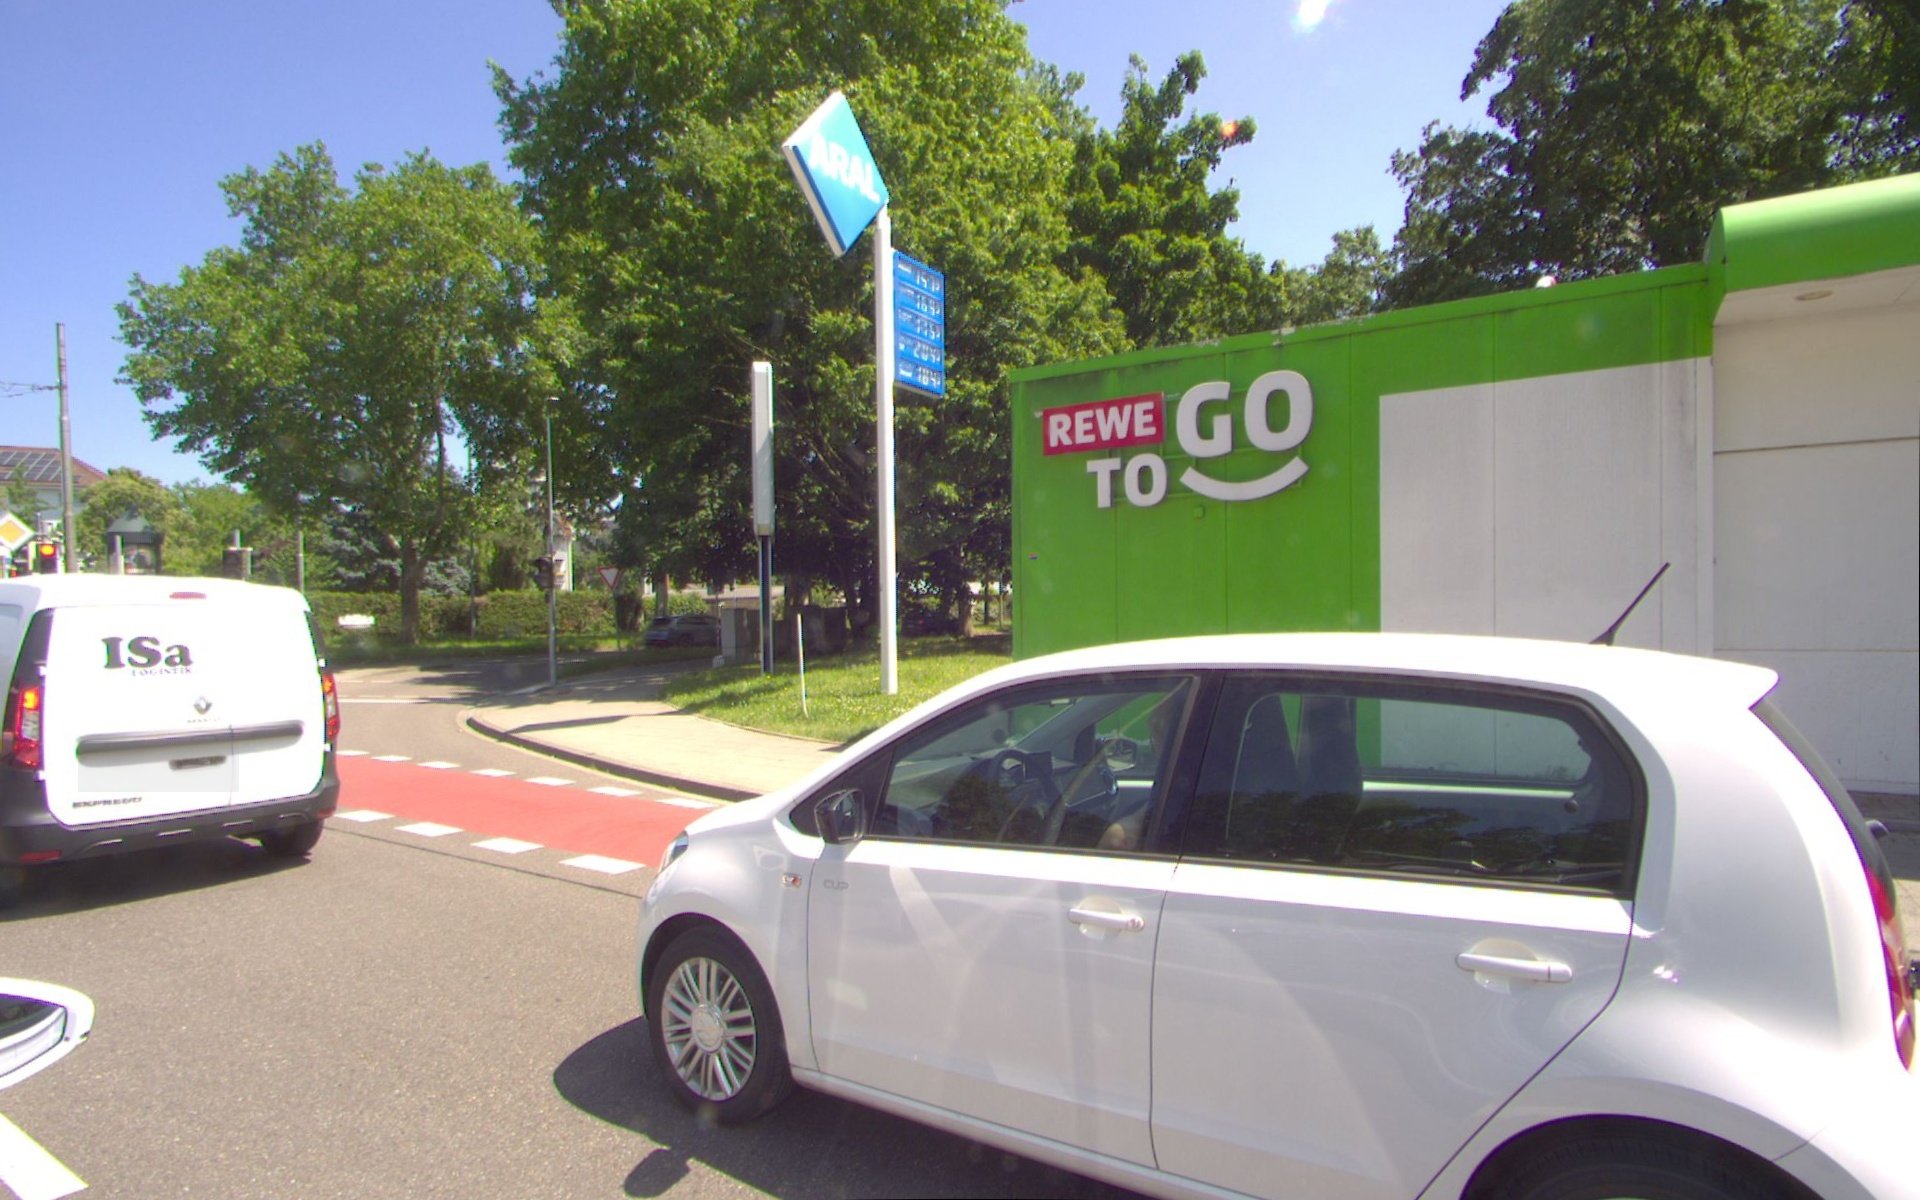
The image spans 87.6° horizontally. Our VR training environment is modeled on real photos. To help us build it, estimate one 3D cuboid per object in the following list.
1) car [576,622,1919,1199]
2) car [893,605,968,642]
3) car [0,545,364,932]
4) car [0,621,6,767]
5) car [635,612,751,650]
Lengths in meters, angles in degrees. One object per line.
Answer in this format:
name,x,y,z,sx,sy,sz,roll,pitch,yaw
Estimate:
car,0.624,0.808,2.986,3.472,1.470,1.603,-1,-1,34
car,-1.497,1.194,52.070,1.973,1.884,3.976,-1,-1,34
car,-5.840,0.709,6.580,3.956,1.854,1.707,-1,-1,32
car,-11.969,0.969,10.649,3.943,1.505,1.753,-1,-2,33
car,-11.574,1.301,43.716,1.975,1.545,4.663,-1,-1,37
